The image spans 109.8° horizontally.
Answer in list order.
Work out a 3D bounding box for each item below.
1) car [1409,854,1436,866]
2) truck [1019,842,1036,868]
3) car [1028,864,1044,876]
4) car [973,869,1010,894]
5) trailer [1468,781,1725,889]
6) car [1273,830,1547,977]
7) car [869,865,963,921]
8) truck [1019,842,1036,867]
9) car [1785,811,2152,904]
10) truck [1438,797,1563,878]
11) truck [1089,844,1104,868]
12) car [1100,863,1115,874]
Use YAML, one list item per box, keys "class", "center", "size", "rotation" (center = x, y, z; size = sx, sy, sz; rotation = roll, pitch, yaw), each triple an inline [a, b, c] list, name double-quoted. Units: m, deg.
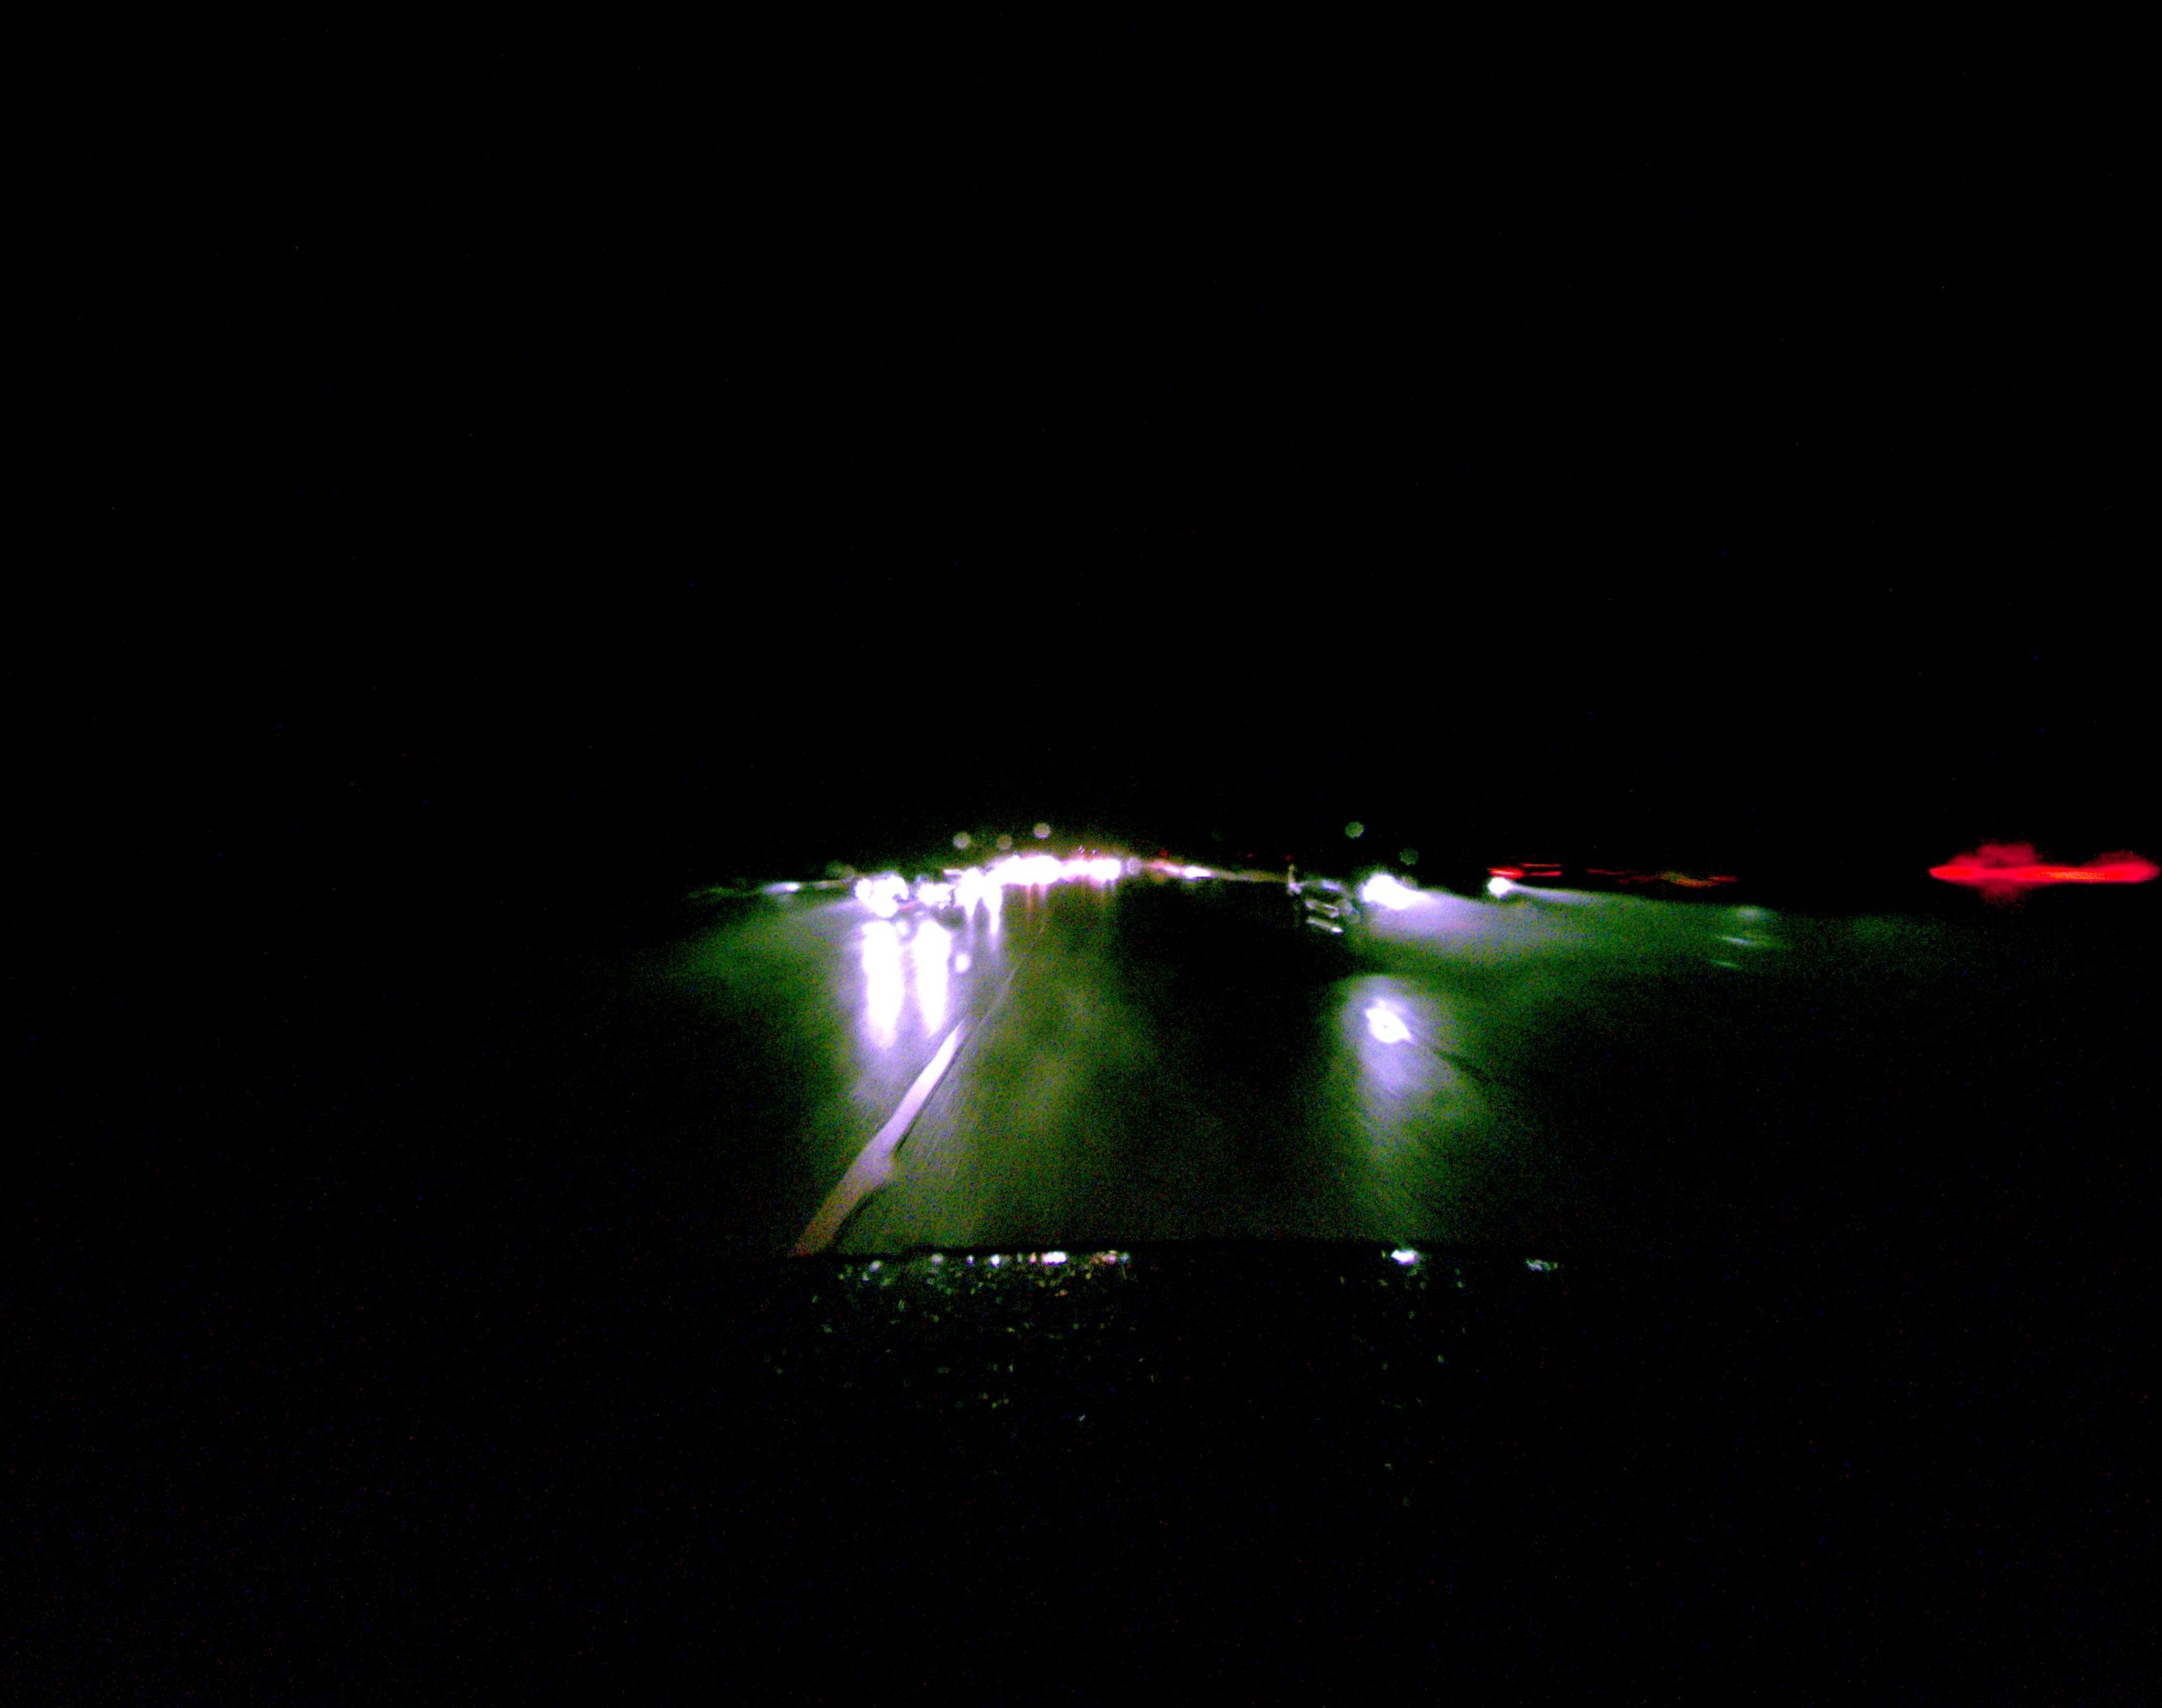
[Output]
- class: "car"
  center: [38.677, 0.641, 86.029]
  size: [1.489, 1.277, 3.555]
  rotation: [1, 1, 2]
- class: "truck"
  center: [-9.004, 0.073, 128.137]
  size: [2.767, 4.198, 6.191]
  rotation: [1, 1, -5]
- class: "car"
  center: [-5.294, 1.865, 88.796]
  size: [1.712, 1.286, 3.991]
  rotation: [1, -2, -5]
- class: "car"
  center: [-6.092, 1.862, 52.377]
  size: [1.998, 1.441, 4.334]
  rotation: [-1, 2, 0]
- class: "trailer"
  center: [21.146, -0.721, 32.649]
  size: [2.703, 3.727, 12.019]
  rotation: [1, 1, 0]
- class: "car"
  center: [4.951, 0.617, 12.593]
  size: [2.142, 1.873, 5.554]
  rotation: [-1, 1, 0]
- class: "car"
  center: [-5.250, 1.188, 24.908]
  size: [2.063, 1.510, 5.015]
  rotation: [-2, 0, -1]
- class: "truck"
  center: [-9.578, -0.017, 135.328]
  size: [2.766, 4.198, 13.819]
  rotation: [1, 1, -5]
- class: "car"
  center: [17.234, 0.042, 15.236]
  size: [1.998, 1.590, 4.593]
  rotation: [0, 0, 1]
- class: "truck"
  center: [21.125, -0.788, 38.761]
  size: [2.703, 3.738, 6.453]
  rotation: [1, 1, 0]
- class: "truck"
  center: [2.771, 0.291, 137.200]
  size: [2.503, 4.223, 5.981]
  rotation: [1, 1, 0]
- class: "car"
  center: [3.400, 1.881, 97.478]
  size: [1.711, 1.286, 3.992]
  rotation: [1, -2, -1]
